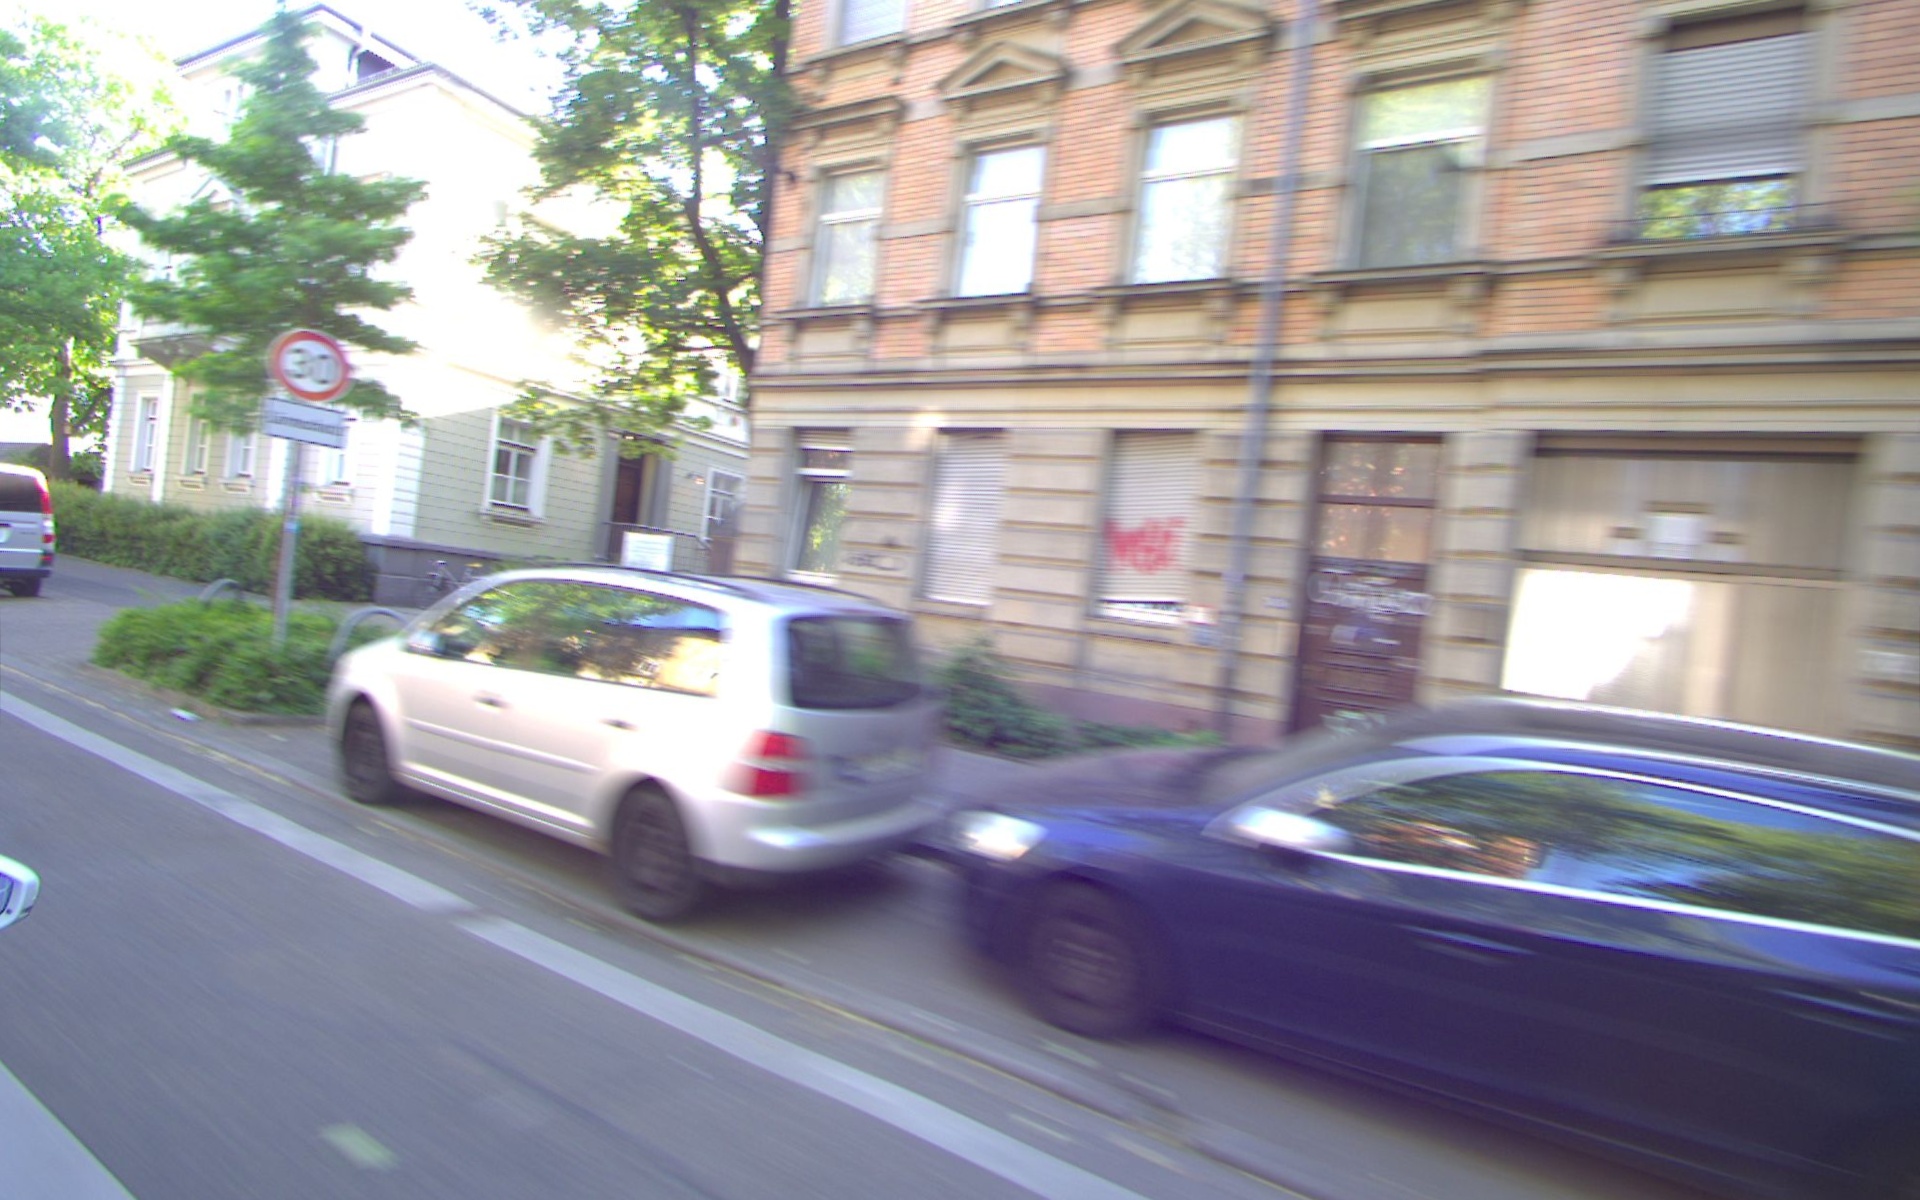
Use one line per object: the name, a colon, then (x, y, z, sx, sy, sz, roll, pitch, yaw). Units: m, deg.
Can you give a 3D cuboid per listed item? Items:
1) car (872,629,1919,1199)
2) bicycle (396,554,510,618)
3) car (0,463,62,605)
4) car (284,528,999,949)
car: (2.093, 1.138, 4.056, 4.515, 1.486, 1.885, 7, 2, 30)
bicycle: (-9.876, -0.253, 19.678, 0.553, 1.048, 1.915, 7, 0, 31)
car: (-15.045, -1.125, 14.432, 4.885, 1.876, 1.884, 6, 2, 32)
car: (-2.093, 0.556, 6.227, 4.172, 1.589, 1.884, 6, 2, 32)
